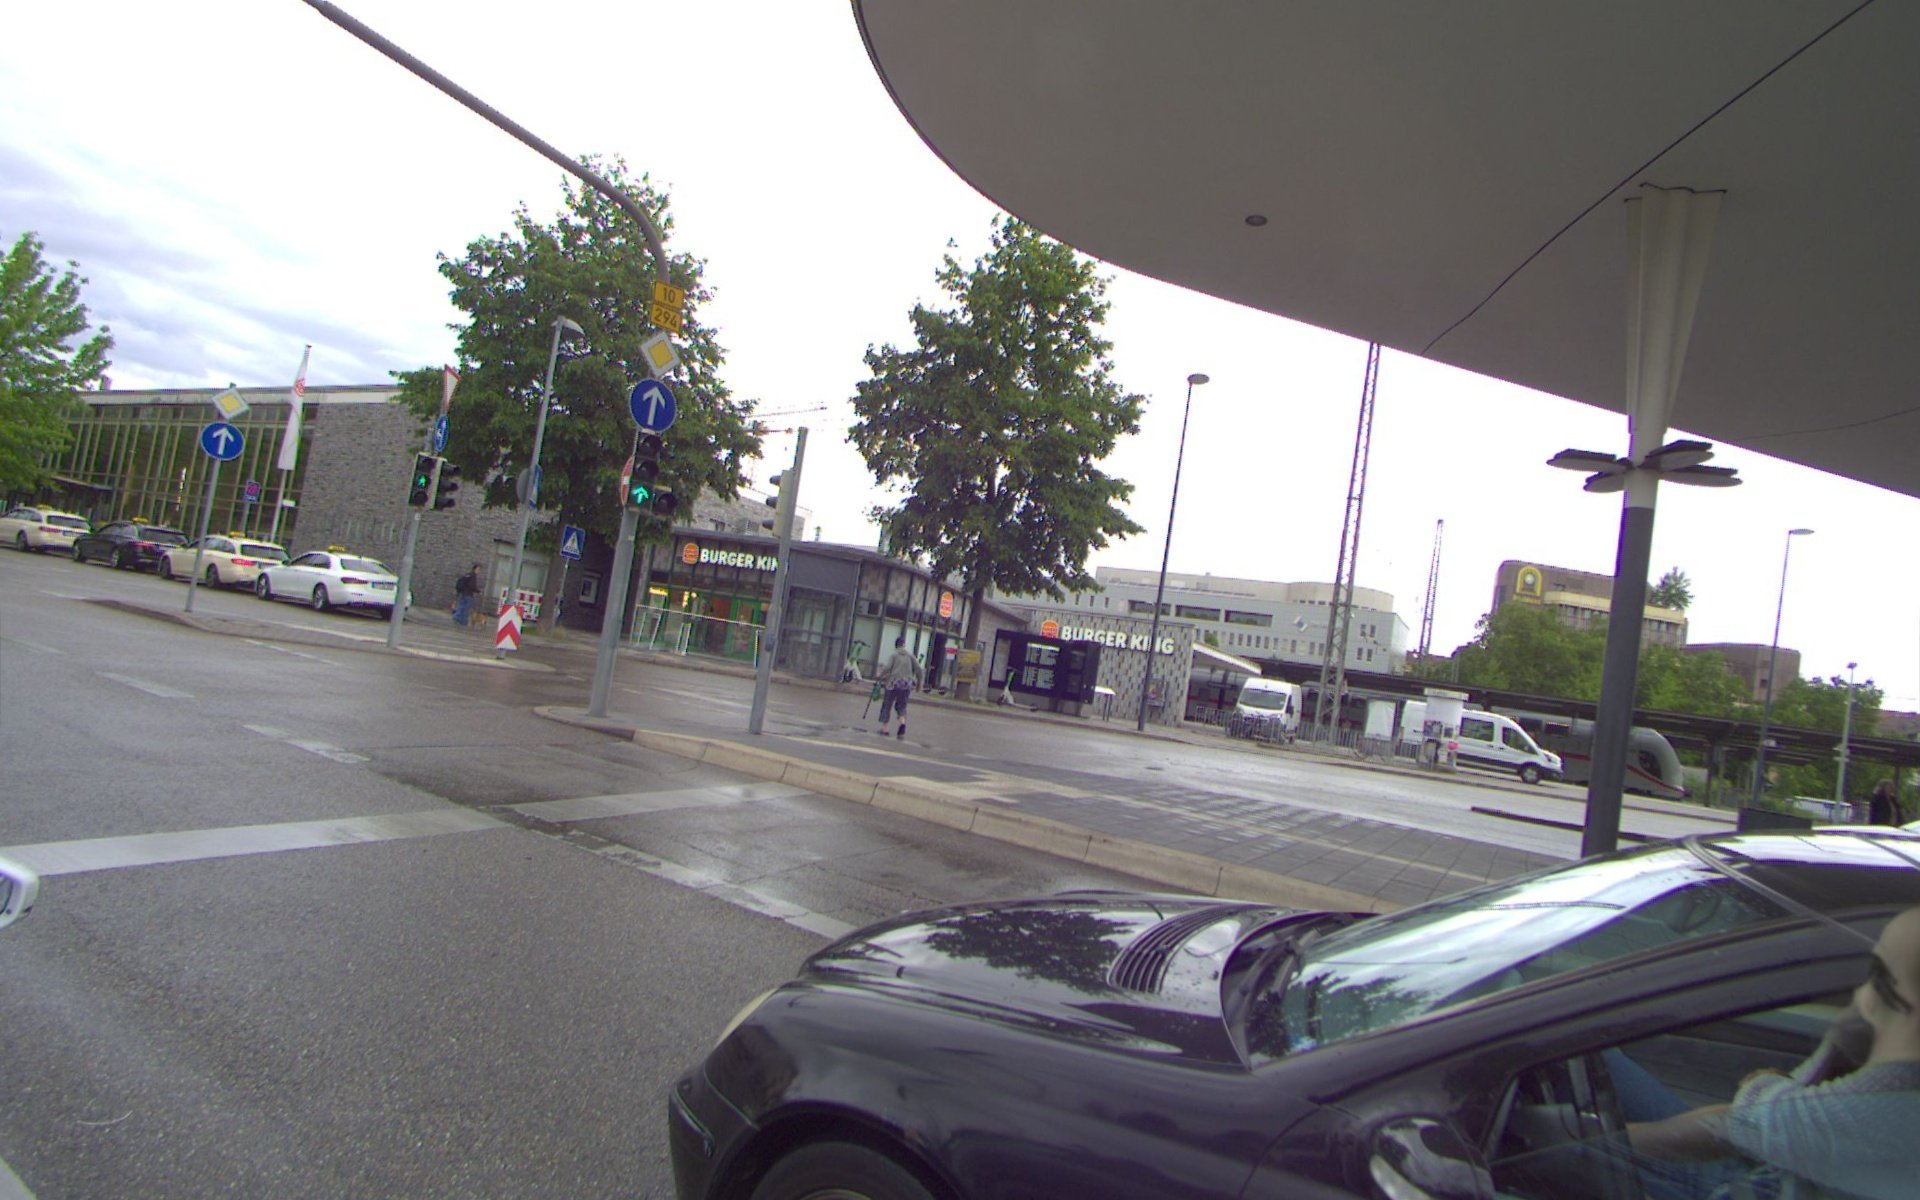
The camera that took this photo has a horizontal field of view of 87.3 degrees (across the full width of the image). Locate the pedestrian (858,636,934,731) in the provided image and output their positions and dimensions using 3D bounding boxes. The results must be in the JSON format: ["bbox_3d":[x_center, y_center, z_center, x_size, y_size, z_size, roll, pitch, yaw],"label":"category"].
[{"bbox_3d":[-1.015,1.343,16.074,0.753,1.374,0.738,7,-3,31],"label":"pedestrian"}]

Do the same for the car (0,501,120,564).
[{"bbox_3d":[-31.429,-2.375,34.533,4.736,1.618,2.000,7,-2,25],"label":"car"}]

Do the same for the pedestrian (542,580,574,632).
[{"bbox_3d":[-13.633,0.209,34.137,0.556,1.652,0.562,7,-2,30],"label":"pedestrian"}]

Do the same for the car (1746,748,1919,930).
[{"bbox_3d":[11.236,2.790,10.559,4.360,1.665,1.807,7,-5,32],"label":"car"}]

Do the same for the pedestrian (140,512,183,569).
[{"bbox_3d":[-30.810,-2.295,38.821,0.906,2.036,0.813,7,-2,32],"label":"pedestrian"}]

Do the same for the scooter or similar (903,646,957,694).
[{"bbox_3d":[-0.945,2.159,31.168,1.503,1.284,0.467,8,-1,-4],"label":"scooter or similar"}]

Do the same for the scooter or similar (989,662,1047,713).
[{"bbox_3d":[1.715,2.592,29.770,1.503,1.284,0.467,8,-1,-4],"label":"scooter or similar"}]

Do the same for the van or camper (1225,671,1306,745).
[{"bbox_3d":[12.544,4.408,41.007,2.072,2.491,5.975,7,-3,25],"label":"van or camper"}]

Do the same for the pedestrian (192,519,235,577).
[{"bbox_3d":[-28.544,-1.986,38.477,0.906,2.036,0.813,7,-2,31],"label":"pedestrian"}]

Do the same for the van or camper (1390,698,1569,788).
[{"bbox_3d":[20.342,5.544,39.538,5.873,2.491,2.108,7,-2,32],"label":"van or camper"}]

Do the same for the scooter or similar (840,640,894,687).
[{"bbox_3d":[-2.626,1.804,28.414,1.313,1.157,0.464,9,-2,-31],"label":"scooter or similar"}]

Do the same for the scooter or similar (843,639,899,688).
[{"bbox_3d":[-2.457,1.754,27.756,1.309,1.167,0.465,9,-2,-21],"label":"scooter or similar"}]

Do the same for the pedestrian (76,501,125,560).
[{"bbox_3d":[-32.780,-2.650,38.387,0.904,2.036,0.815,8,-1,8],"label":"pedestrian"}]

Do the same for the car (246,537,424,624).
[{"bbox_3d":[-15.850,-0.508,25.452,4.538,1.608,1.779,7,-2,30],"label":"car"}]

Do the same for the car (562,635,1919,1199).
[{"bbox_3d":[1.578,1.132,1.595,4.361,1.493,1.754,5,-8,31],"label":"car"}]

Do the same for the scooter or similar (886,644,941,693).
[{"bbox_3d":[-1.408,2.060,30.343,1.503,1.284,0.467,8,-1,-4],"label":"scooter or similar"}]

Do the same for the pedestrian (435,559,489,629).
[{"bbox_3d":[-13.136,-0.157,26.547,0.700,1.693,0.809,7,-2,31],"label":"pedestrian"}]

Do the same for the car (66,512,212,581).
[{"bbox_3d":[-25.801,-1.692,31.581,4.662,1.542,1.918,7,-2,30],"label":"car"}]

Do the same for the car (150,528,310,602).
[{"bbox_3d":[-20.627,-1.004,28.379,4.588,1.468,1.851,7,-2,30],"label":"car"}]
